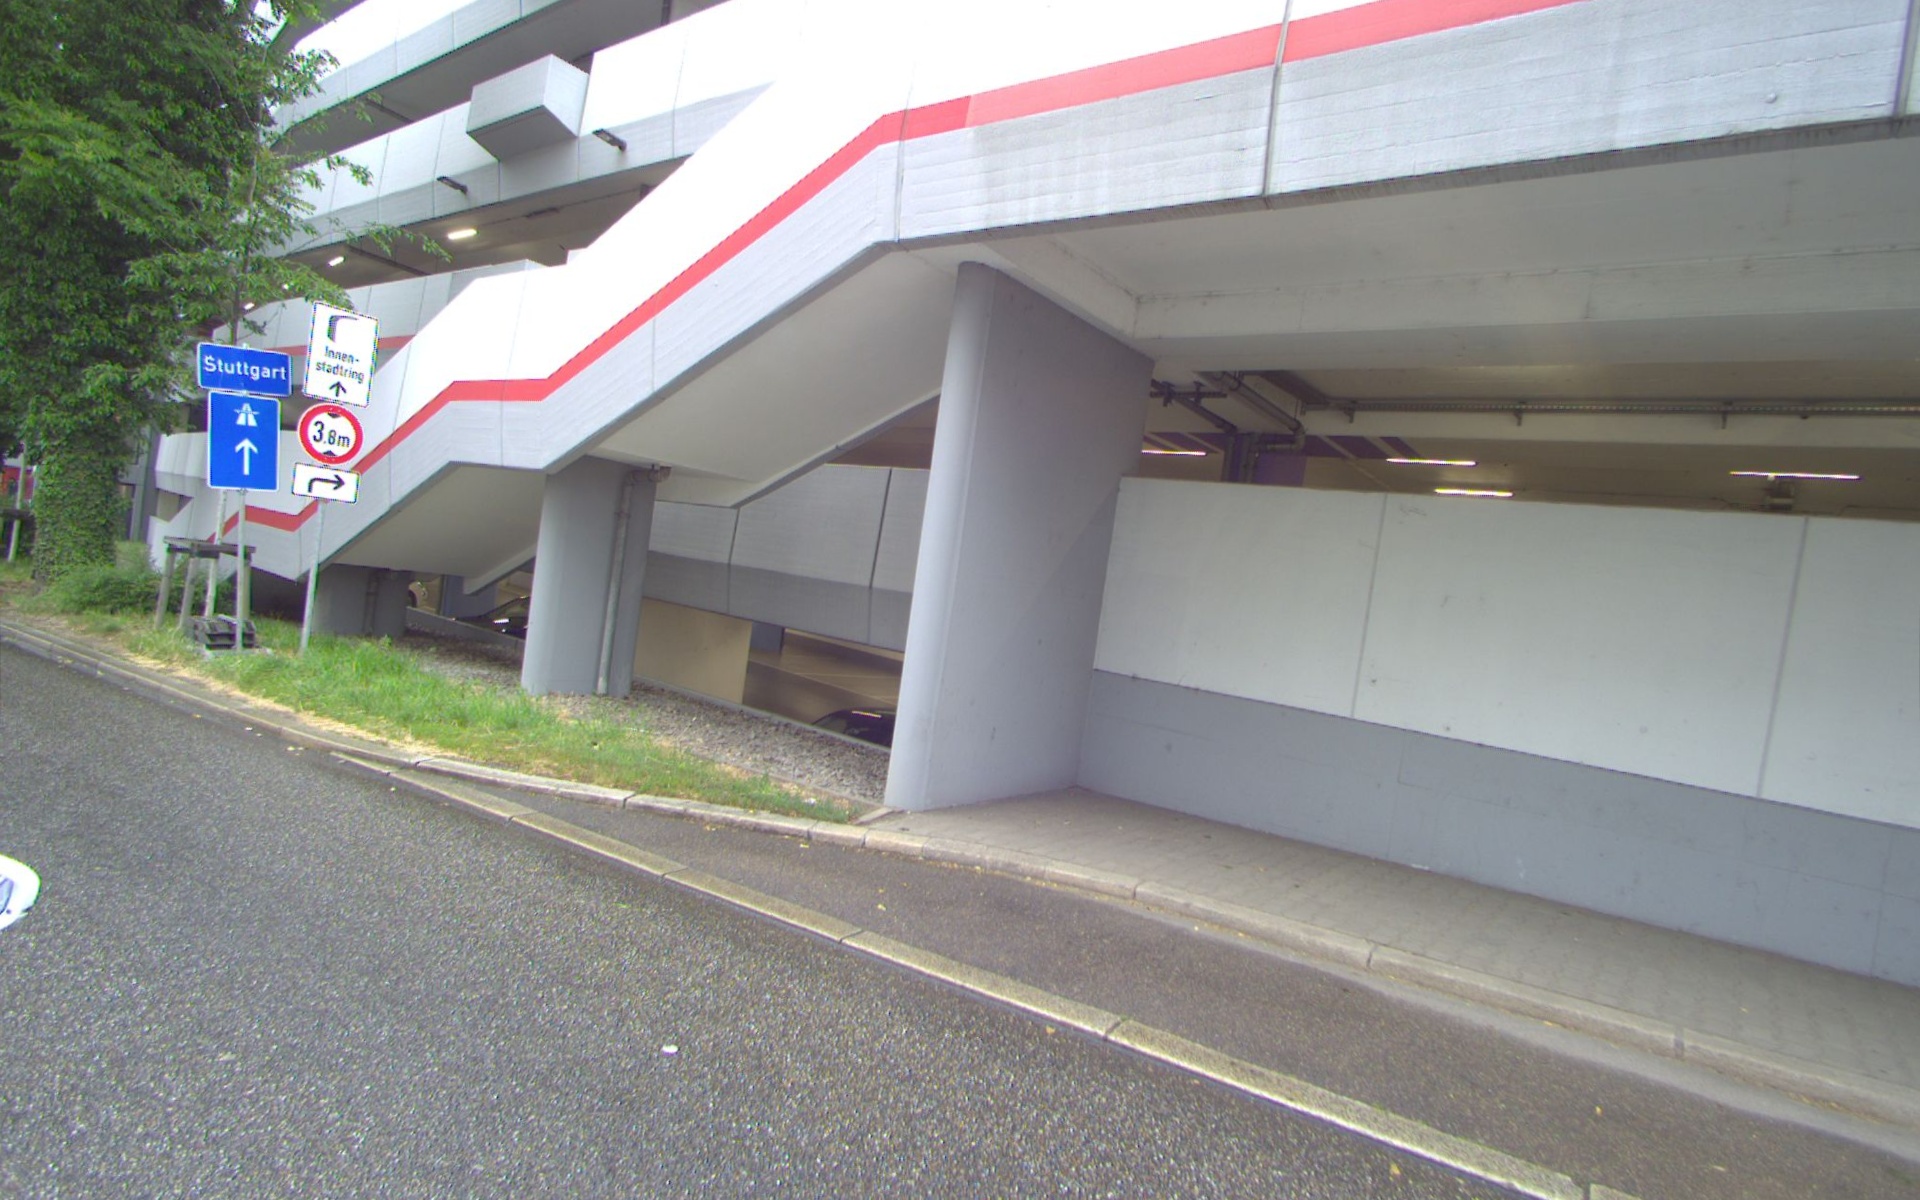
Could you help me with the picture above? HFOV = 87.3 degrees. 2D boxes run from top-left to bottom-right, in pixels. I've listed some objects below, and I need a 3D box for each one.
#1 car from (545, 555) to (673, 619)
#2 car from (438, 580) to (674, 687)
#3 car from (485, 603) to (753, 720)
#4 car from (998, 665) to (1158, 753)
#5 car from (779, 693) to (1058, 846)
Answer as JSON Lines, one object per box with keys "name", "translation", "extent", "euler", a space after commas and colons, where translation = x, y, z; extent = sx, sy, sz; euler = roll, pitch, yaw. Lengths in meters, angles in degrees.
{"name": "car", "translation": [-12.915, -0.451, 37.157], "extent": [1.792, 1.804, 3.979], "euler": [7, 0, 44]}
{"name": "car", "translation": [-7.768, 0.705, 19.610], "extent": [1.782, 1.559, 3.734], "euler": [11, 2, 37]}
{"name": "car", "translation": [-5.828, 1.134, 17.613], "extent": [1.810, 1.643, 3.988], "euler": [7, -1, 36]}
{"name": "car", "translation": [2.860, 2.557, 23.687], "extent": [1.810, 1.559, 3.988], "euler": [11, 2, 37]}
{"name": "car", "translation": [-0.470, 2.352, 14.671], "extent": [1.810, 1.559, 3.931], "euler": [11, 2, 37]}
